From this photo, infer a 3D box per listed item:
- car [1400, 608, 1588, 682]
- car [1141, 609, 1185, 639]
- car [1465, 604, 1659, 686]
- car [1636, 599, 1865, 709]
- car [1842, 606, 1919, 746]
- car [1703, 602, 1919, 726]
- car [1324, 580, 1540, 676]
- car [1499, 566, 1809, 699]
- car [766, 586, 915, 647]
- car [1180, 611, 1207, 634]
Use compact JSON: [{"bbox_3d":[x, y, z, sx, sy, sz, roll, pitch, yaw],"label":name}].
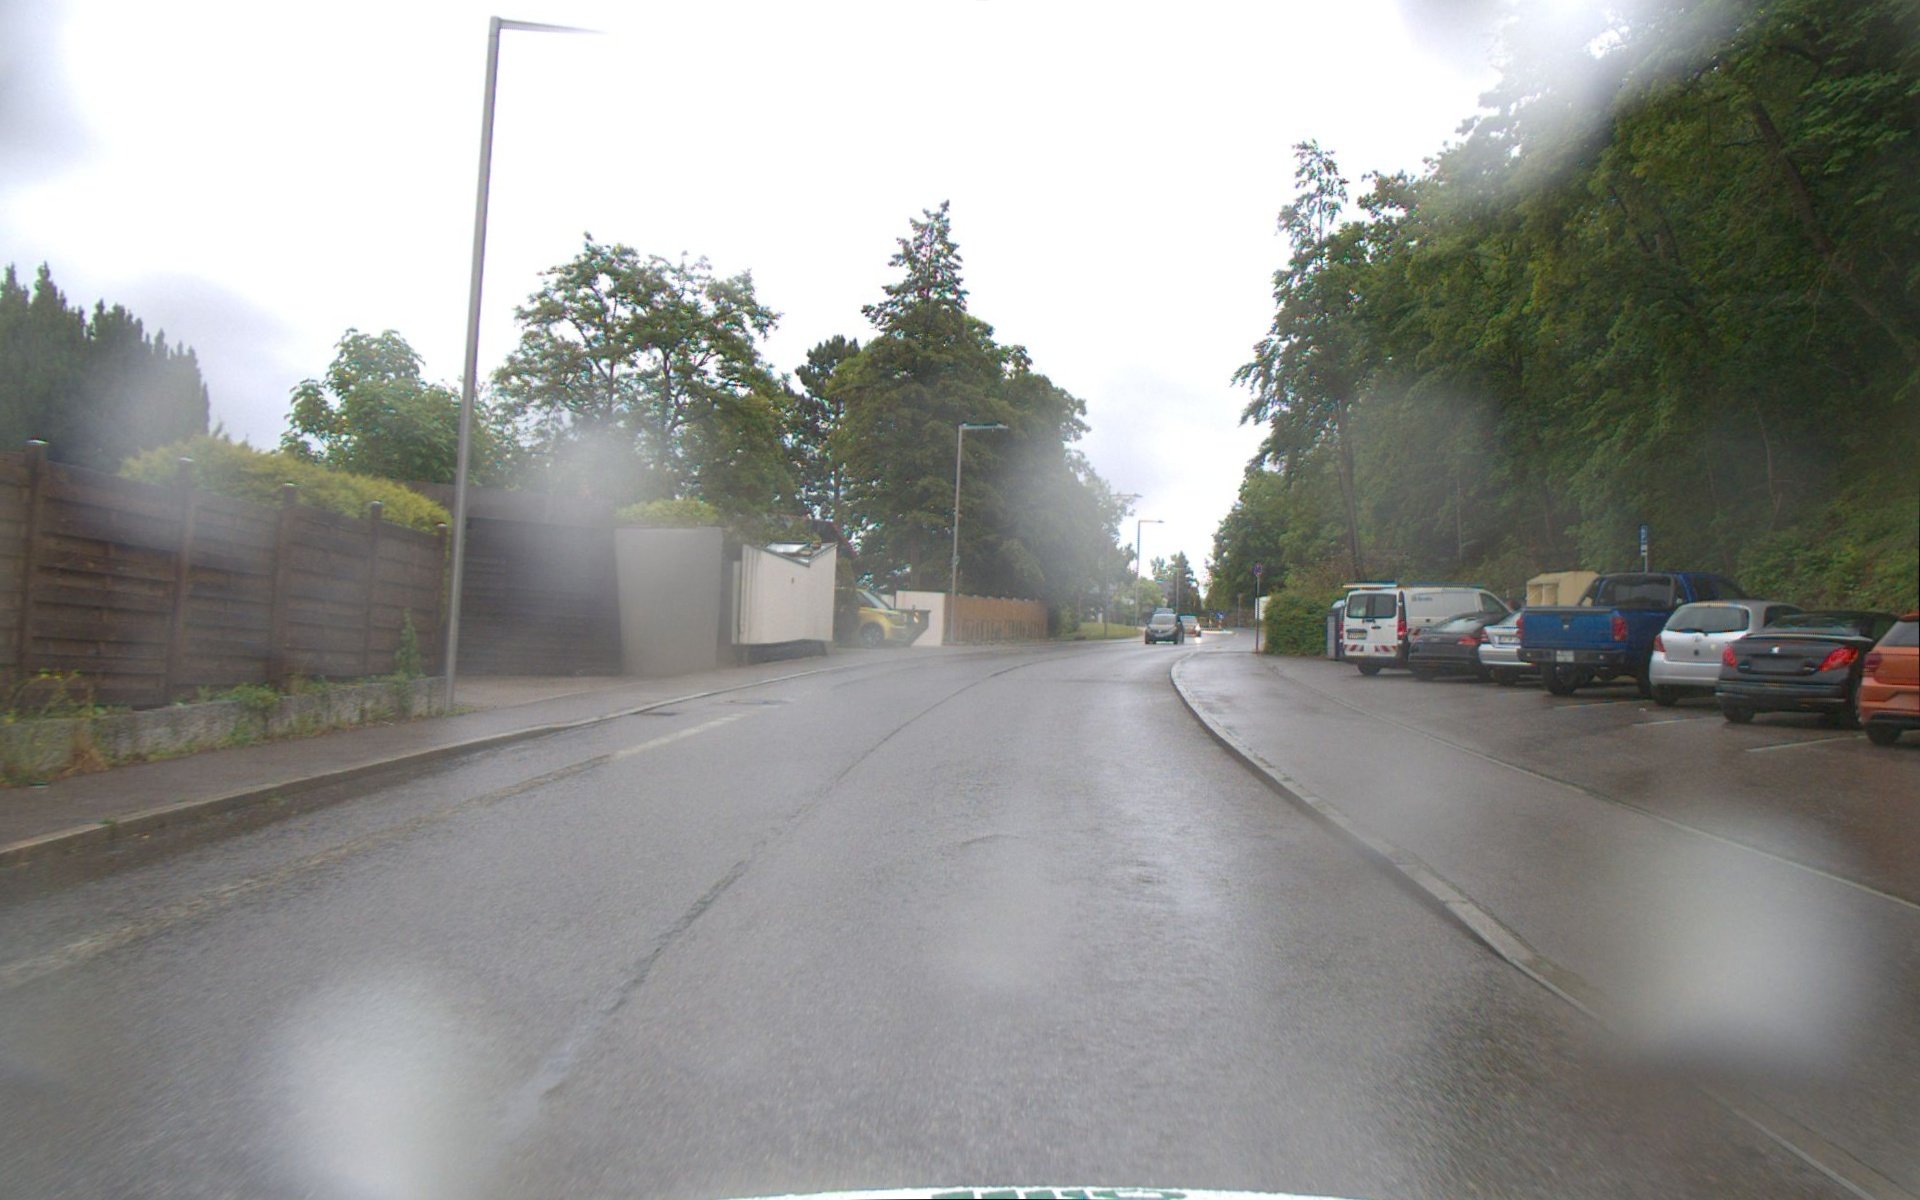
[{"bbox_3d":[10.599,0.845,32.724,3.755,1.372,1.739,0,0,-37],"label":"car"},{"bbox_3d":[10.846,1.282,88.153,1.795,1.538,4.621,1,0,14],"label":"car"},{"bbox_3d":[11.223,0.796,30.721,3.954,1.437,1.604,0,0,-39],"label":"car"},{"bbox_3d":[11.781,0.746,24.556,3.874,1.512,1.596,0,0,-39],"label":"car"},{"bbox_3d":[11.315,0.781,17.907,3.753,1.426,1.696,0,0,-36],"label":"car"},{"bbox_3d":[11.231,0.751,21.014,3.802,1.426,1.695,0,0,-37],"label":"car"},{"bbox_3d":[10.373,0.582,36.219,4.789,1.974,2.129,0,0,-37],"label":"car"},{"bbox_3d":[11.614,0.510,27.526,5.420,2.003,2.302,1,0,-36],"label":"car"},{"bbox_3d":[-3.885,0.518,54.021,4.407,1.892,2.091,1,0,14],"label":"car"},{"bbox_3d":[16.360,1.555,115.762,1.795,1.538,4.172,1,0,9],"label":"car"}]
